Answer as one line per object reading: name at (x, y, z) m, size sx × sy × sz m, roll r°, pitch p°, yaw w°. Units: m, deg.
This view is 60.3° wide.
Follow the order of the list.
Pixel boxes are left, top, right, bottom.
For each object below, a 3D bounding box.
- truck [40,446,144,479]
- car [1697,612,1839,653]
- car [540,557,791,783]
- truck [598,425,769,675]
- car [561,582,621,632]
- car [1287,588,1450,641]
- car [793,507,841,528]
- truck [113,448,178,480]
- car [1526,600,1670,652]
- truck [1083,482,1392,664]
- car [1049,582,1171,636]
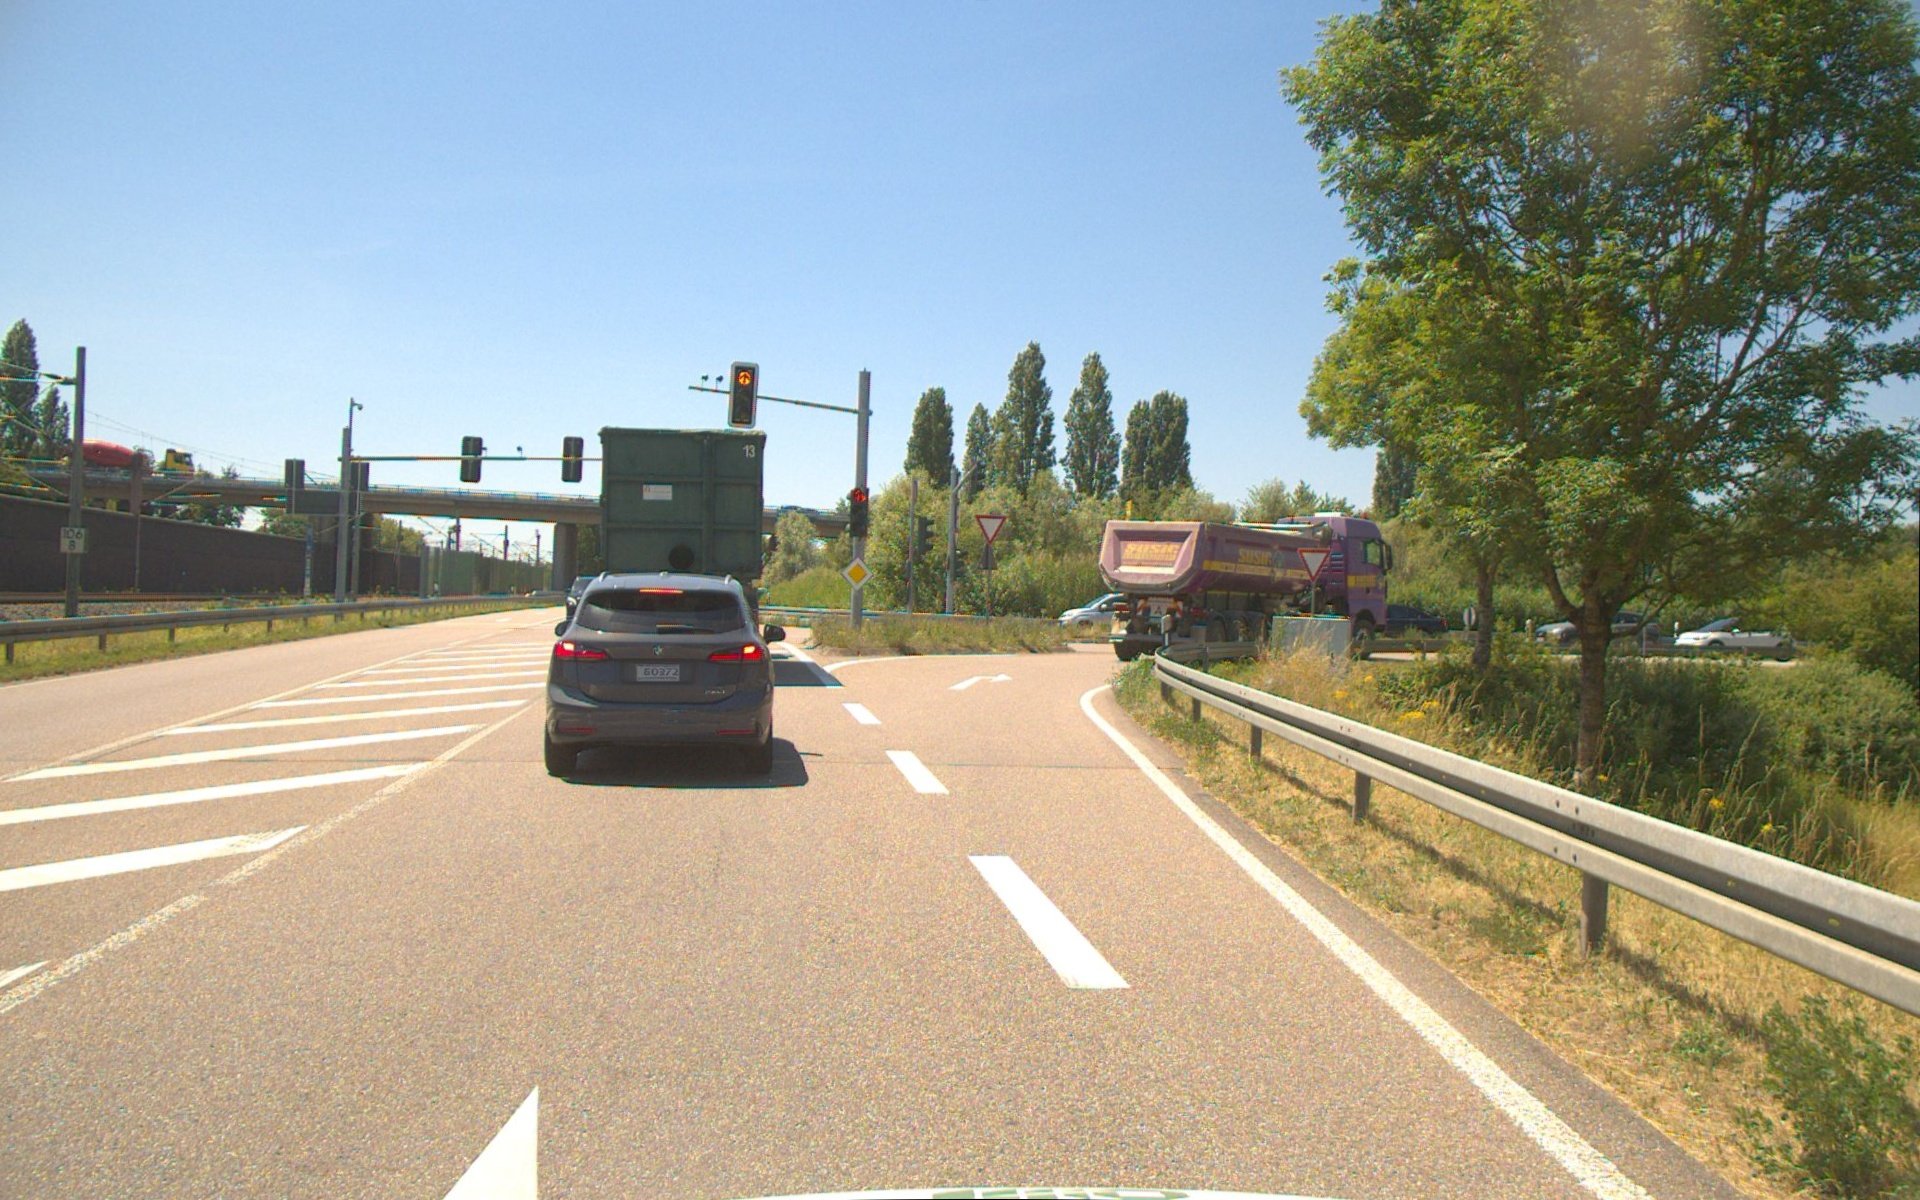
truck at (-81.038, -12.840, 154.554) m, size 8.340 × 2.721 × 1.996 m, roll 1°, pitch 0°, yaw -10°
car at (29.697, 1.189, 60.821) m, size 4.308 × 1.422 × 1.997 m, roll 1°, pitch 0°, yaw -7°
car at (-2.476, 0.507, 14.350) m, size 1.810 × 1.651 × 4.218 m, roll 1°, pitch 0°, yaw -8°
truck at (-4.932, -0.828, 30.189) m, size 2.541 × 3.802 × 9.557 m, roll 1°, pitch 1°, yaw -8°
car at (-14.305, 0.245, 64.350) m, size 1.891 × 1.798 × 4.589 m, roll 2°, pitch 1°, yaw -8°
car at (13.441, 0.462, 54.548) m, size 4.832 × 1.660 × 1.930 m, roll 1°, pitch 0°, yaw -8°
car at (-15.225, -8.760, 175.848) m, size 4.869 × 2.049 × 1.996 m, roll 1°, pitch 0°, yaw -10°
truck at (-76.475, -12.788, 155.345) m, size 4.997 × 2.721 × 1.996 m, roll 1°, pitch 0°, yaw -10°
car at (21.549, 0.865, 55.963) m, size 4.145 × 1.660 × 1.930 m, roll 1°, pitch 0°, yaw -8°
truck at (7.253, -0.581, 40.936) m, size 2.785 × 3.888 × 11.844 m, roll 1°, pitch 0°, yaw 35°
car at (4.841, 0.287, 53.614) m, size 3.638 × 1.660 × 1.731 m, roll 1°, pitch 0°, yaw -10°
